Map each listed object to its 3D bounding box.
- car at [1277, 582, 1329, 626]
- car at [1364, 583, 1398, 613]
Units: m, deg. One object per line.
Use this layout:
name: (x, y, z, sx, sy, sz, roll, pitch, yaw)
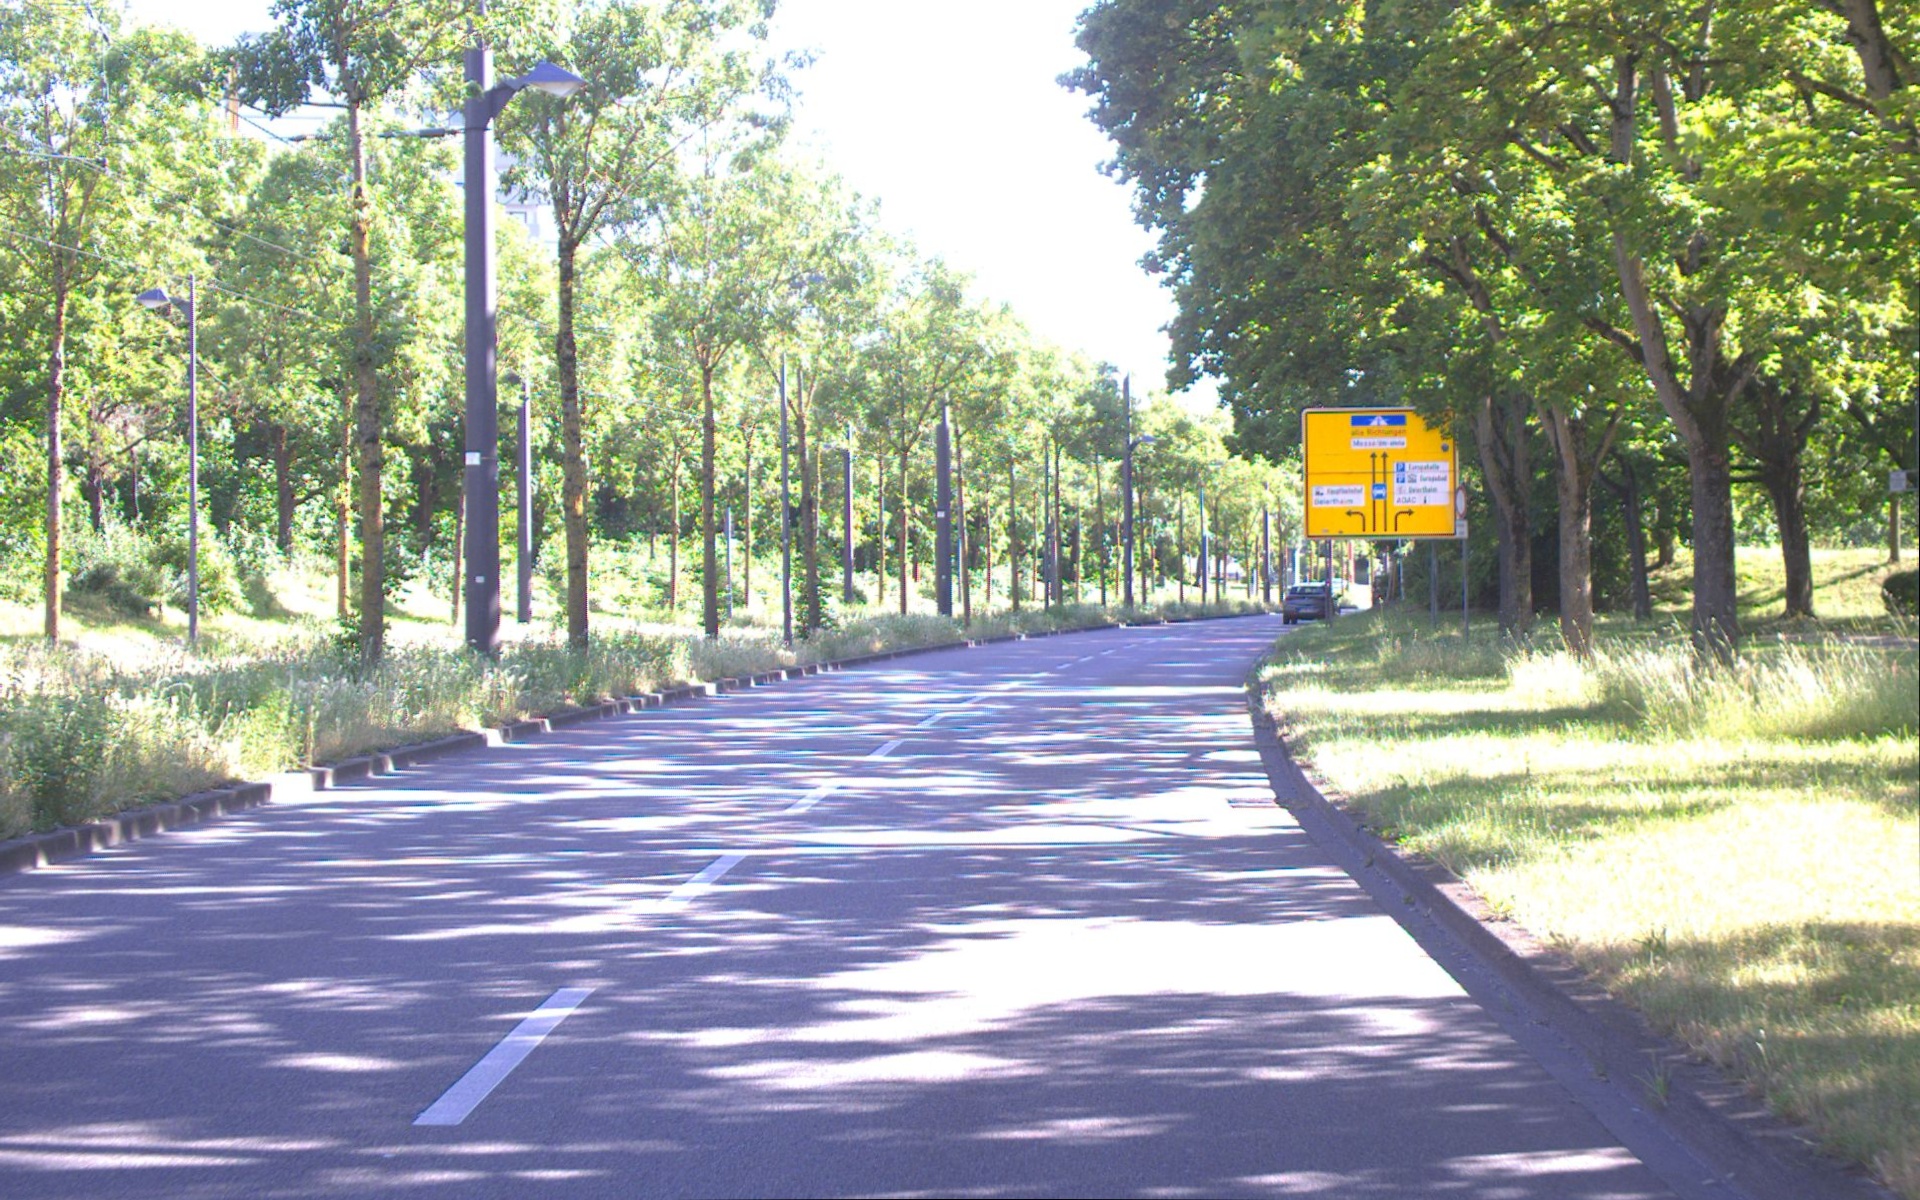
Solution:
car: (12.139, 0.136, 121.379, 1.635, 1.493, 4.233, 0, 0, 8)
car: (21.384, -0.122, 174.499, 1.634, 1.493, 4.233, 0, 0, 8)
